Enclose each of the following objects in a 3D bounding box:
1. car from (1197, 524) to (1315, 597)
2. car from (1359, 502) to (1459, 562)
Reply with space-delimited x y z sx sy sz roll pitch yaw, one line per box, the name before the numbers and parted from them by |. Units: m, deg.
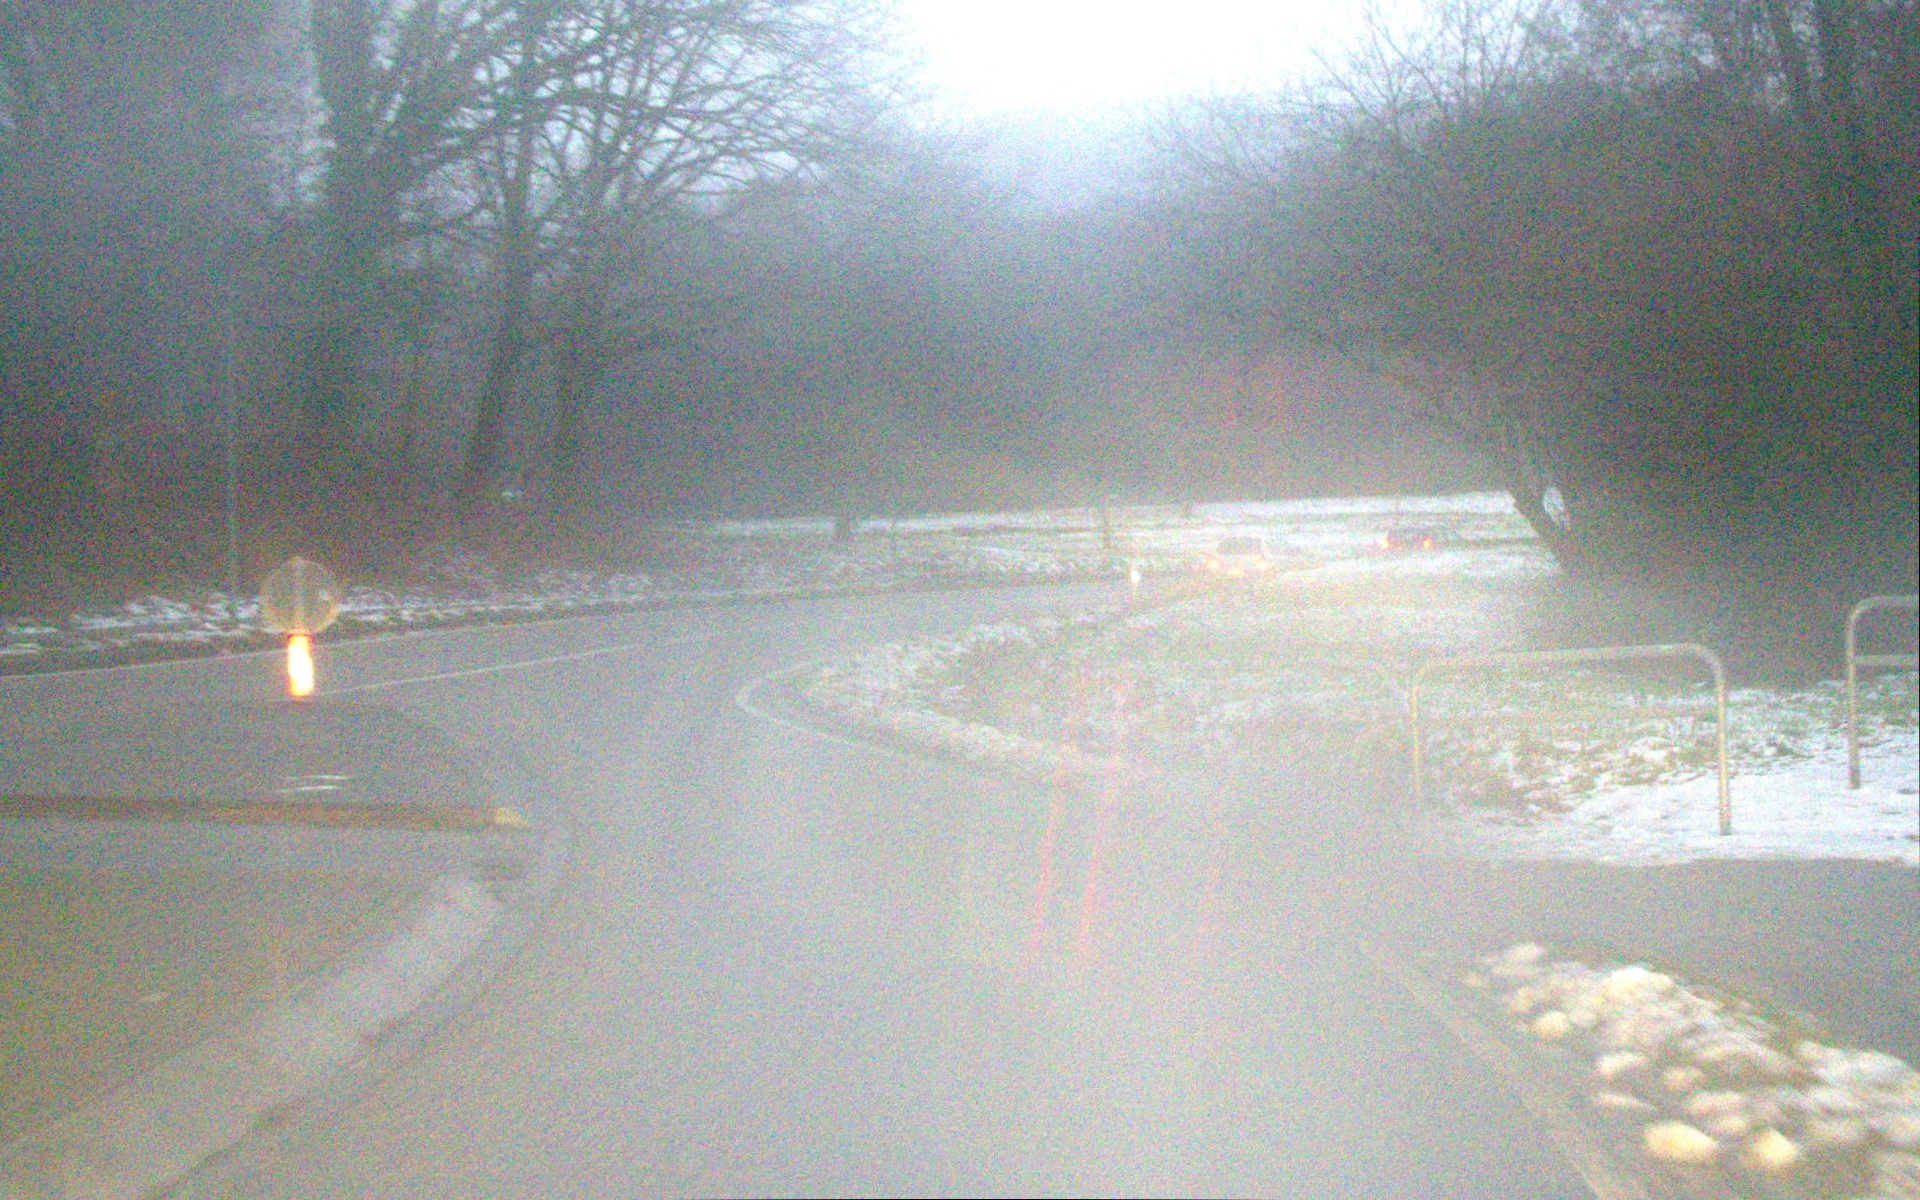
car | 7.496 -1.011 86.783 1.935 1.775 3.996 1 1 21
car | 12.943 -1.960 98.909 1.935 1.670 3.996 1 1 22
